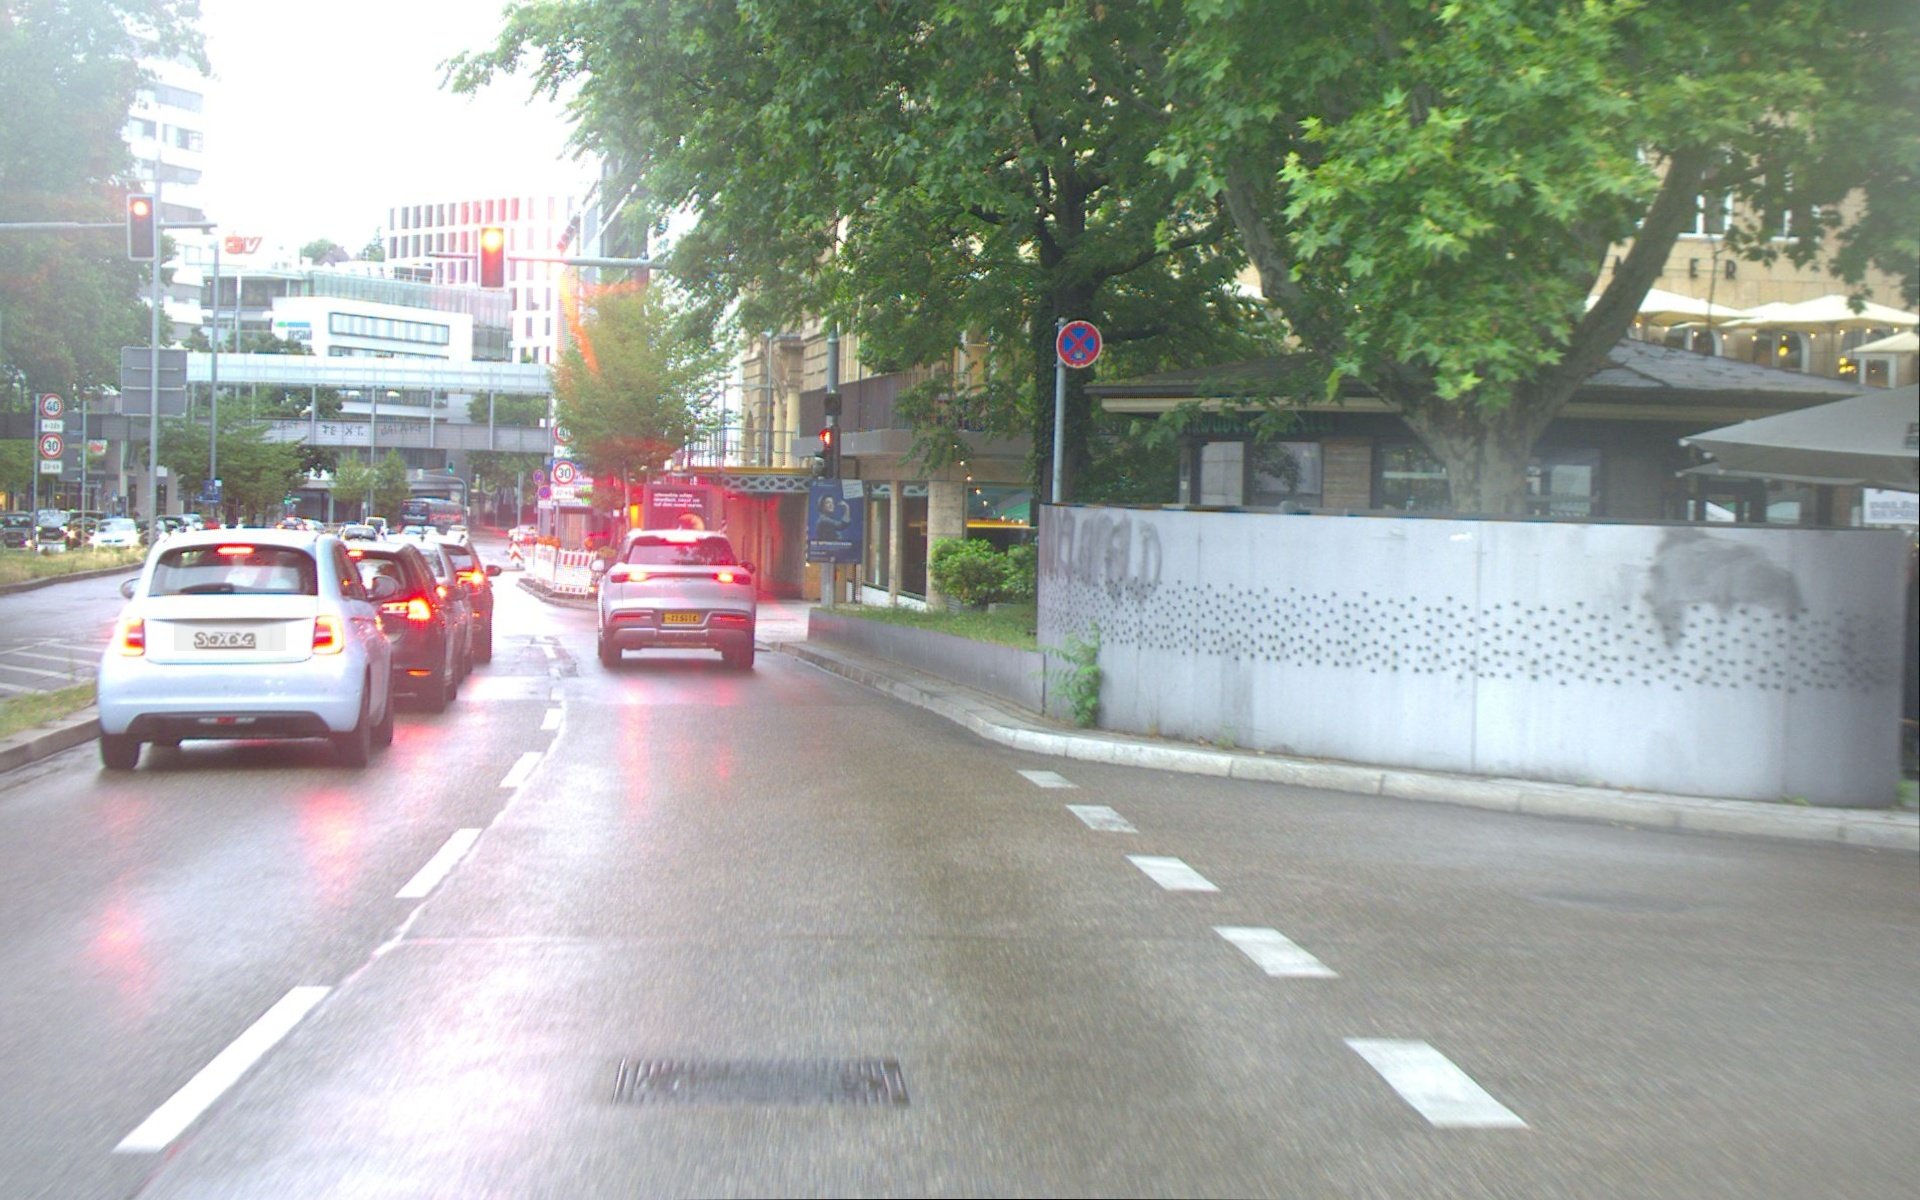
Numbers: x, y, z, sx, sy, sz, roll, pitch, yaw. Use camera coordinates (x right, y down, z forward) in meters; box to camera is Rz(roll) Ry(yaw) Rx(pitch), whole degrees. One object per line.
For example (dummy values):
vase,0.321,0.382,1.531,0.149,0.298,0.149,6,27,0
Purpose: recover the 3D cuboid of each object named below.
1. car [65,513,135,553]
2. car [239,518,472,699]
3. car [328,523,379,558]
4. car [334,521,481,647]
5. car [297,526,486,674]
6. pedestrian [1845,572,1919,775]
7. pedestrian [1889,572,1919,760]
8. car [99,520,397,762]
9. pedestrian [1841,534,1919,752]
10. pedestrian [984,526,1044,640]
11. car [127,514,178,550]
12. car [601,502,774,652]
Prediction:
car,-32.283,-2.518,129.139,2.158,1.458,4.346,0,1,-9
car,-5.179,0.021,29.875,1.691,1.458,4.131,0,1,-6
car,-25.190,-2.482,142.812,1.978,1.458,4.346,0,1,-9
car,-6.784,-0.233,42.357,1.691,1.458,4.346,0,1,-8
car,-5.949,-0.052,36.352,1.691,1.458,4.346,0,1,-6
pedestrian,6.857,0.528,24.621,0.684,1.405,0.905,4,0,-1
pedestrian,7.539,0.515,26.108,0.684,1.405,0.660,4,0,-1
car,-4.688,0.210,23.009,1.590,1.486,3.506,0,1,-6
pedestrian,7.438,0.335,27.275,0.723,1.696,0.617,2,0,25
pedestrian,0.847,-0.276,54.458,0.859,1.774,0.718,1,0,-3
car,-34.582,-2.929,147.303,1.794,1.505,4.501,0,1,-9
car,-3.383,-0.302,42.151,1.946,1.660,4.346,2,1,-6
